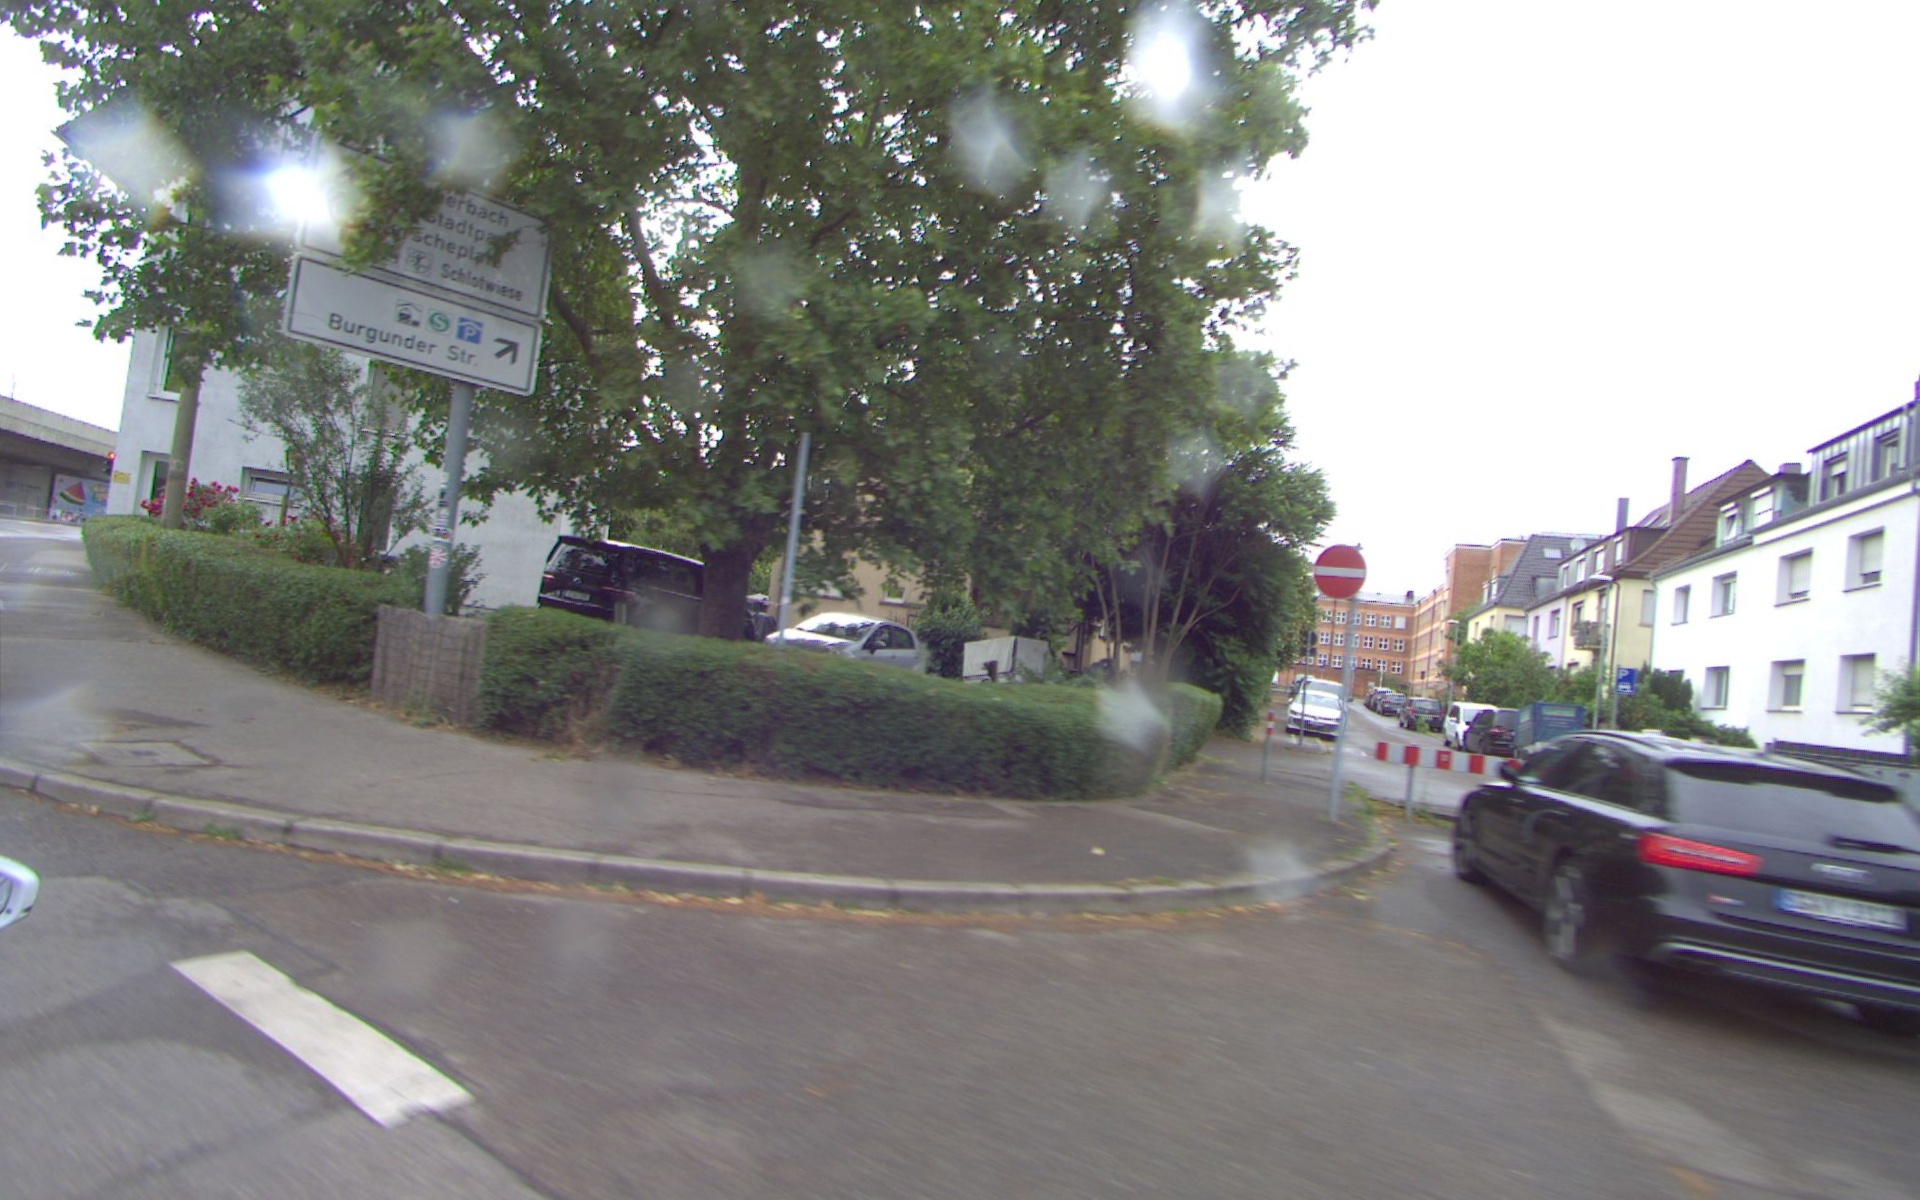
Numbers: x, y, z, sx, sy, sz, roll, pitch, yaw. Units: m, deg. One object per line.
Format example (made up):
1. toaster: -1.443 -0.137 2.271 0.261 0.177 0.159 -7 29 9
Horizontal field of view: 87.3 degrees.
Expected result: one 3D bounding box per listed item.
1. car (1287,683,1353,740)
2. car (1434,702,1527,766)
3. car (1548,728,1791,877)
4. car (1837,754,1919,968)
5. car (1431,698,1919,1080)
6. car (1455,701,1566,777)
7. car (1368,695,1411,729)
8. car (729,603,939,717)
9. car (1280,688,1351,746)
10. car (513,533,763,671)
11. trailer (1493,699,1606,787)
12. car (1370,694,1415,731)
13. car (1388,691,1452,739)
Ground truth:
1. car: 14.023 4.317 39.074 1.964 1.795 4.002 7 -2 24
2. car: 19.215 4.887 37.362 1.962 1.859 4.585 7 -2 16
3. car: 10.231 2.841 14.866 1.739 1.469 3.790 8 -2 18
4. car: 7.718 1.999 6.314 1.851 1.497 4.130 7 -2 21
5. car: 4.970 1.651 7.140 1.850 1.497 4.824 8 -2 14
6. car: 17.530 4.369 32.292 1.962 1.859 4.585 7 -2 16
7. car: 29.747 7.739 69.789 1.962 2.036 4.007 7 -3 15
8. car: -2.104 1.132 18.012 1.789 1.598 4.002 7 -2 23
9. car: 12.077 3.904 34.025 1.963 1.574 4.003 7 -2 22
10. car: -5.683 0.157 18.437 1.962 1.953 4.420 7 -2 18
11. trailer: 16.524 3.952 28.378 1.640 2.036 3.496 7 -2 15
12. car: 28.263 7.310 65.829 1.962 2.036 4.007 7 -3 15
13. car: 23.251 5.781 51.035 1.962 2.036 4.007 7 -3 13
